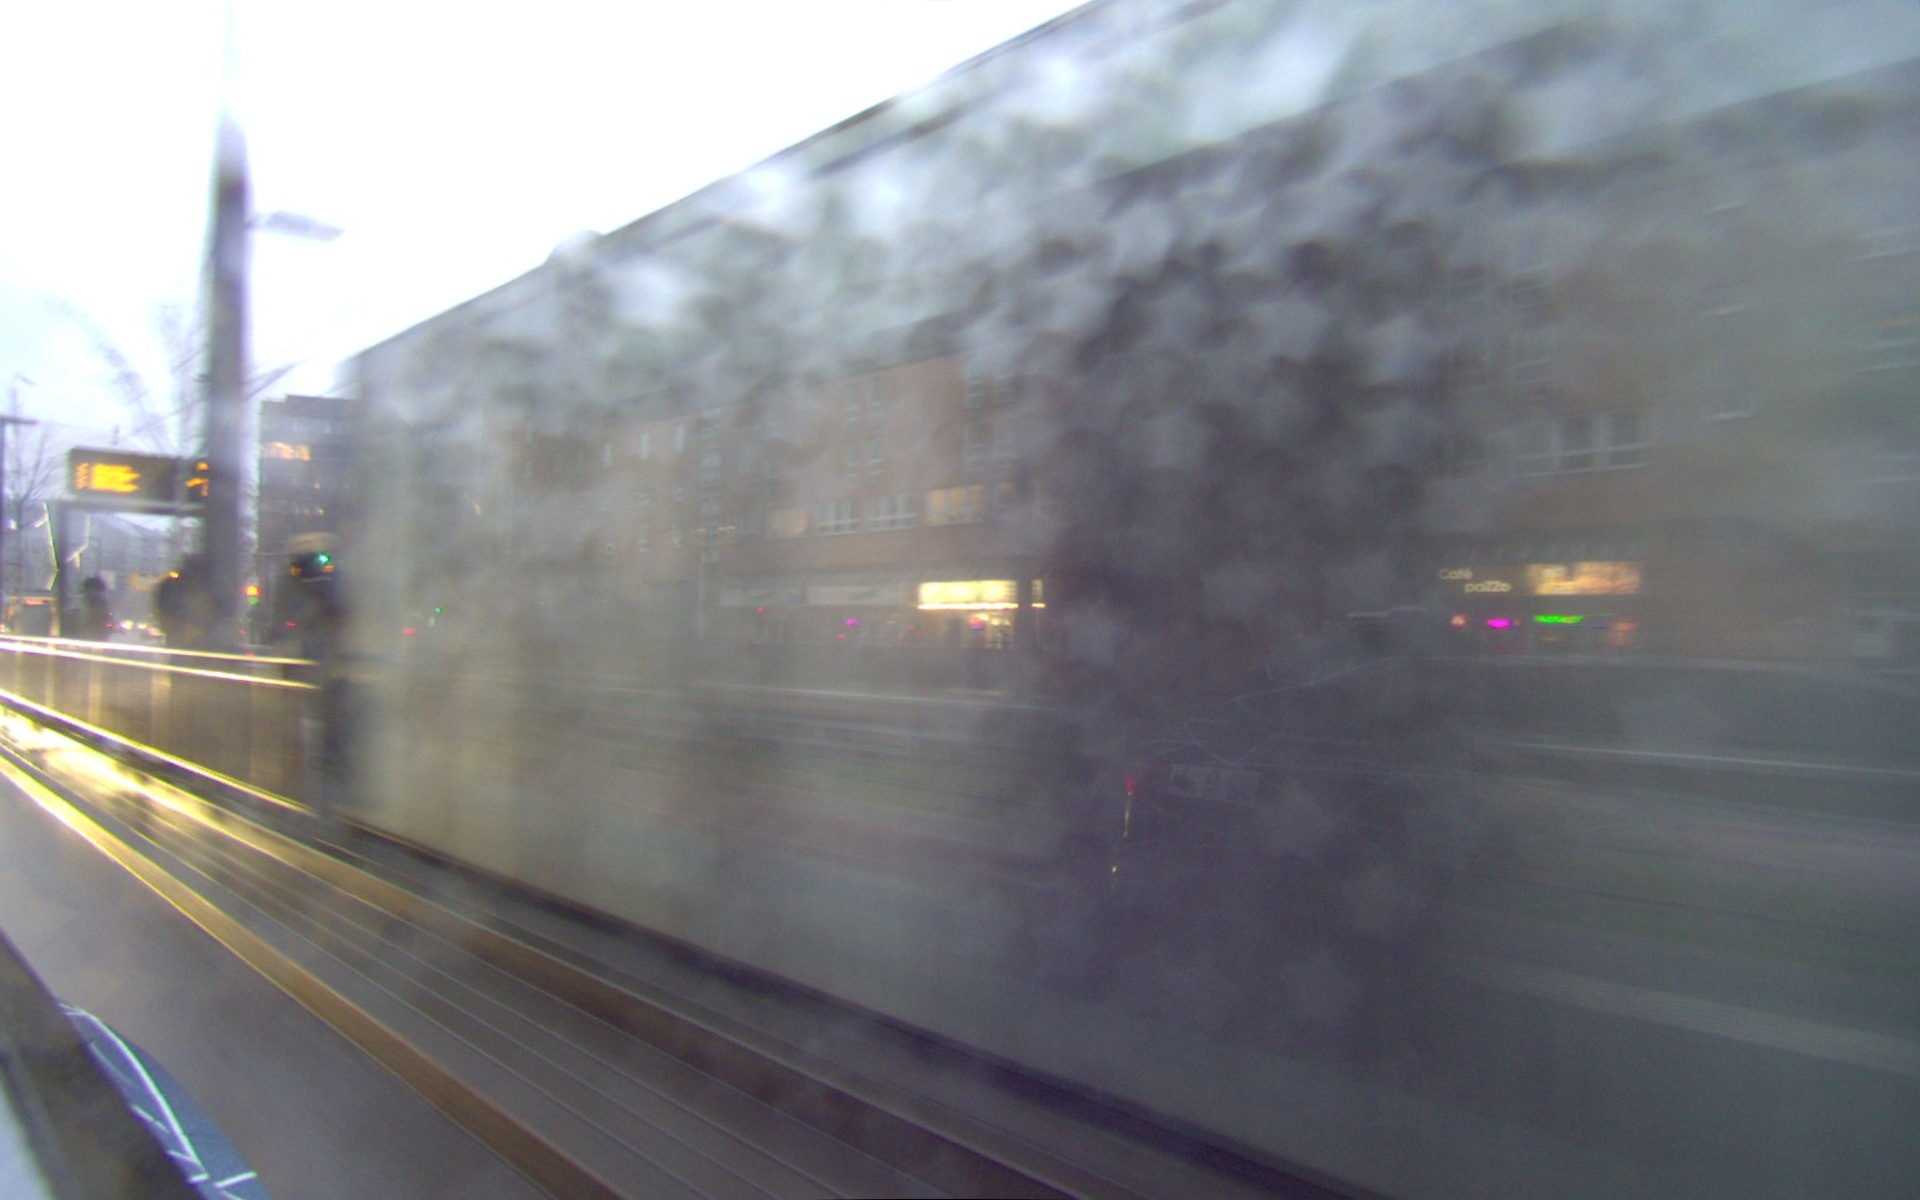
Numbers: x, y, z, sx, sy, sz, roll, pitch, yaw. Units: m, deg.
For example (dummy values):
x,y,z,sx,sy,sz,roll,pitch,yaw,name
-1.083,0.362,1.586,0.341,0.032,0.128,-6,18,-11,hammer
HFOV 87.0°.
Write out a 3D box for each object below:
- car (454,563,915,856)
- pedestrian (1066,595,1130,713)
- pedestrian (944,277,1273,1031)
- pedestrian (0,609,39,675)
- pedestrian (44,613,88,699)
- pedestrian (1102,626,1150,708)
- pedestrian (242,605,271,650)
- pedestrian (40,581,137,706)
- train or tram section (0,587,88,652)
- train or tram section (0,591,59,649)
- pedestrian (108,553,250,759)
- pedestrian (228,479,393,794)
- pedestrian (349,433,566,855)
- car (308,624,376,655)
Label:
x,y,z,sx,sy,sz,roll,pitch,yaw,name
-1.914,0.565,6.602,3.135,1.453,1.416,-1,-1,41,car
1.846,0.716,13.642,0.745,1.536,0.636,-1,-1,-1,pedestrian
0.508,0.157,3.425,0.803,2.126,0.802,-2,-2,38,pedestrian
-23.279,1.033,25.051,0.621,1.602,0.612,-1,-2,38,pedestrian
-18.131,1.120,20.525,0.643,1.705,0.534,-1,-2,38,pedestrian
2.330,0.925,14.226,0.584,1.111,0.608,-1,-1,3,pedestrian
-29.672,1.155,42.682,0.882,1.901,0.784,-1,-2,38,pedestrian
-12.371,0.605,14.370,0.768,1.717,0.773,-1,-1,23,pedestrian
-55.171,1.173,60.744,11.030,3.595,2.869,-1,-1,42,train or tram section
-63.404,1.355,68.094,11.030,3.605,2.894,-1,-1,42,train or tram section
-7.752,0.543,10.089,0.791,1.962,0.814,0,-2,-9,pedestrian
-4.738,0.257,7.395,0.804,2.126,0.801,-2,-3,41,pedestrian
-2.804,0.231,5.670,0.803,2.126,0.802,-2,-2,38,pedestrian
-28.460,1.791,46.592,3.543,1.364,1.665,-1,-1,40,car
